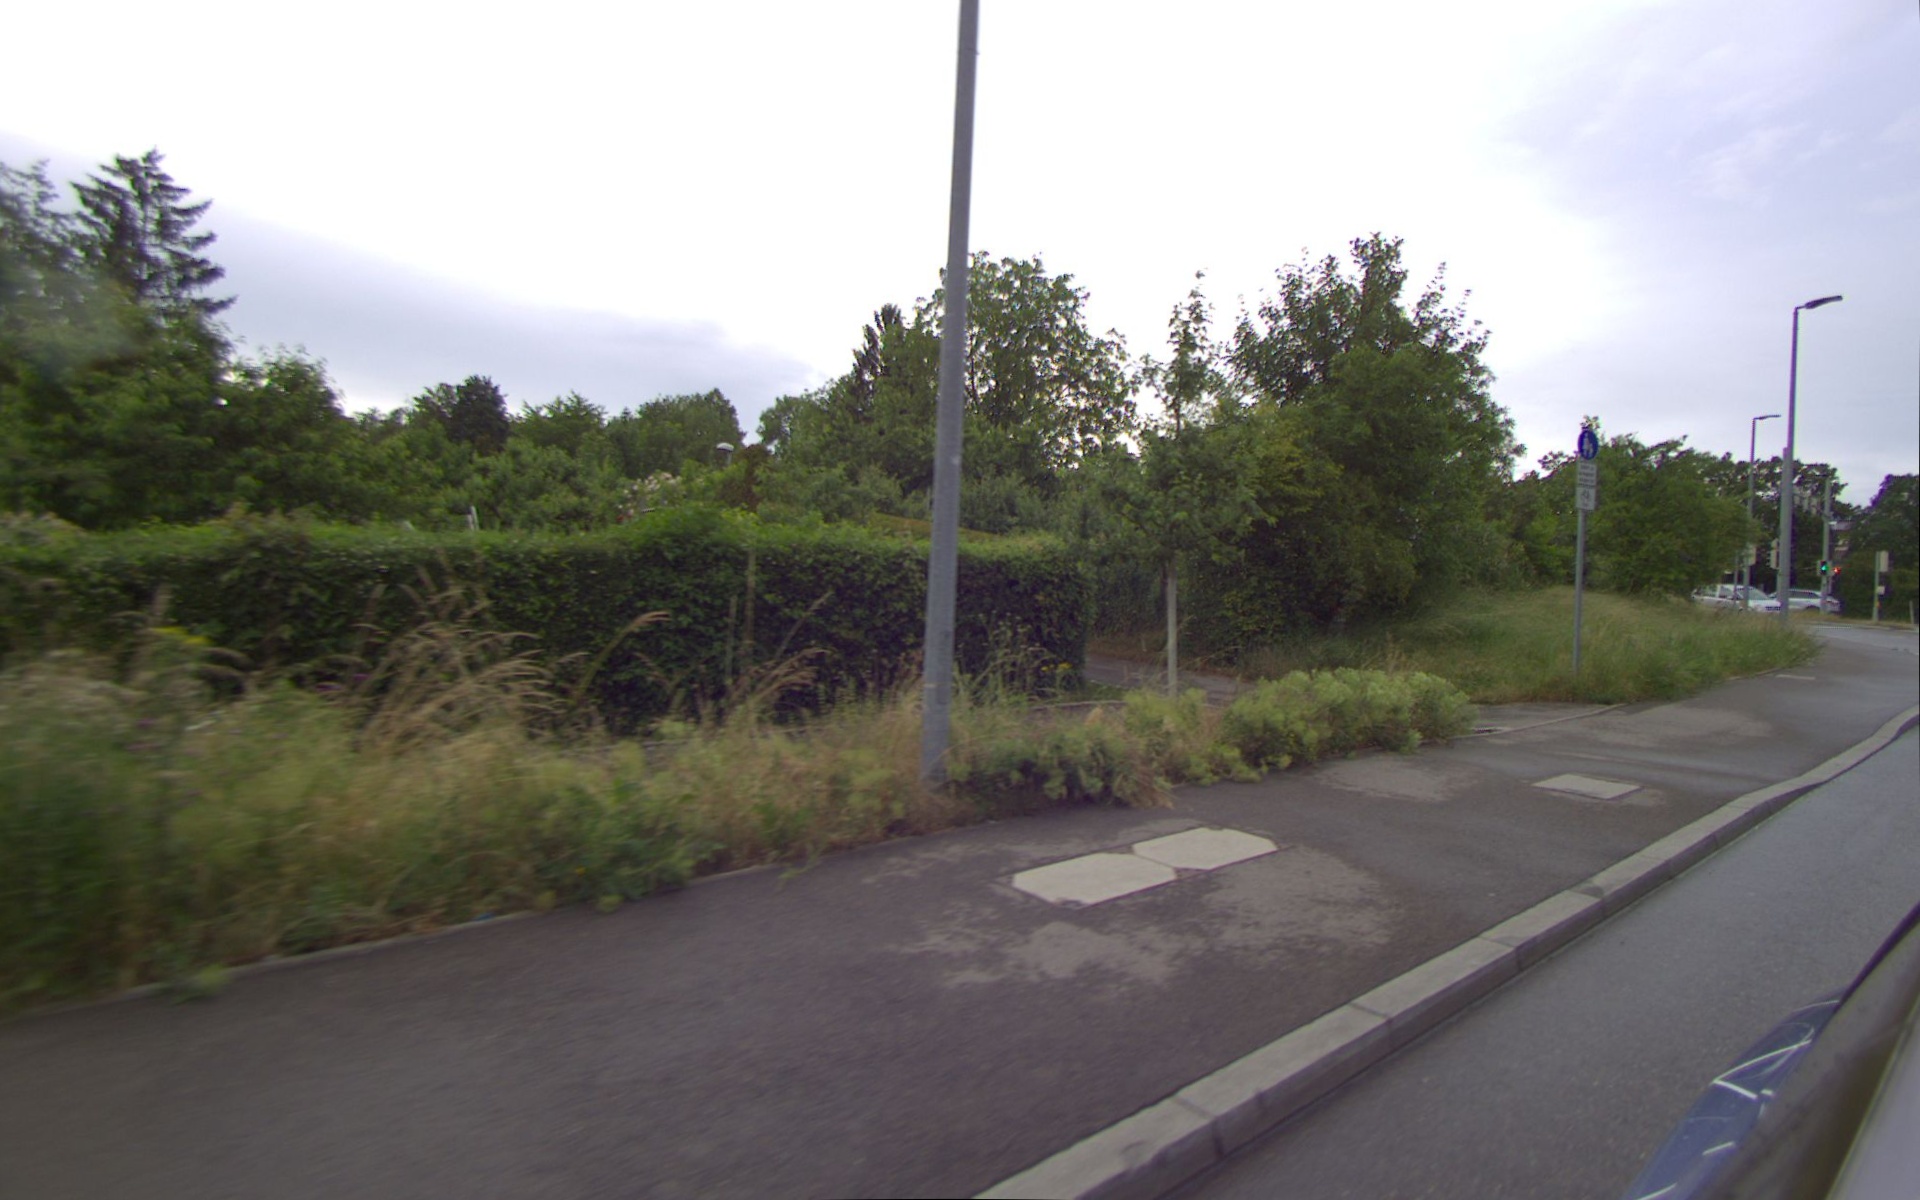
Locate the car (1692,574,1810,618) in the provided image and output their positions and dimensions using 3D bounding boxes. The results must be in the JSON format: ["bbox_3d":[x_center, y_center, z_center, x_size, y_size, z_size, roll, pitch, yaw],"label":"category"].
[{"bbox_3d":[34.704,-0.232,44.568,1.787,1.623,4.070,-1,4,-4],"label":"car"}]

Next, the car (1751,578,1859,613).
[{"bbox_3d":[51.046,-0.315,61.217,1.807,1.723,4.625,2,3,-38],"label":"car"}]
